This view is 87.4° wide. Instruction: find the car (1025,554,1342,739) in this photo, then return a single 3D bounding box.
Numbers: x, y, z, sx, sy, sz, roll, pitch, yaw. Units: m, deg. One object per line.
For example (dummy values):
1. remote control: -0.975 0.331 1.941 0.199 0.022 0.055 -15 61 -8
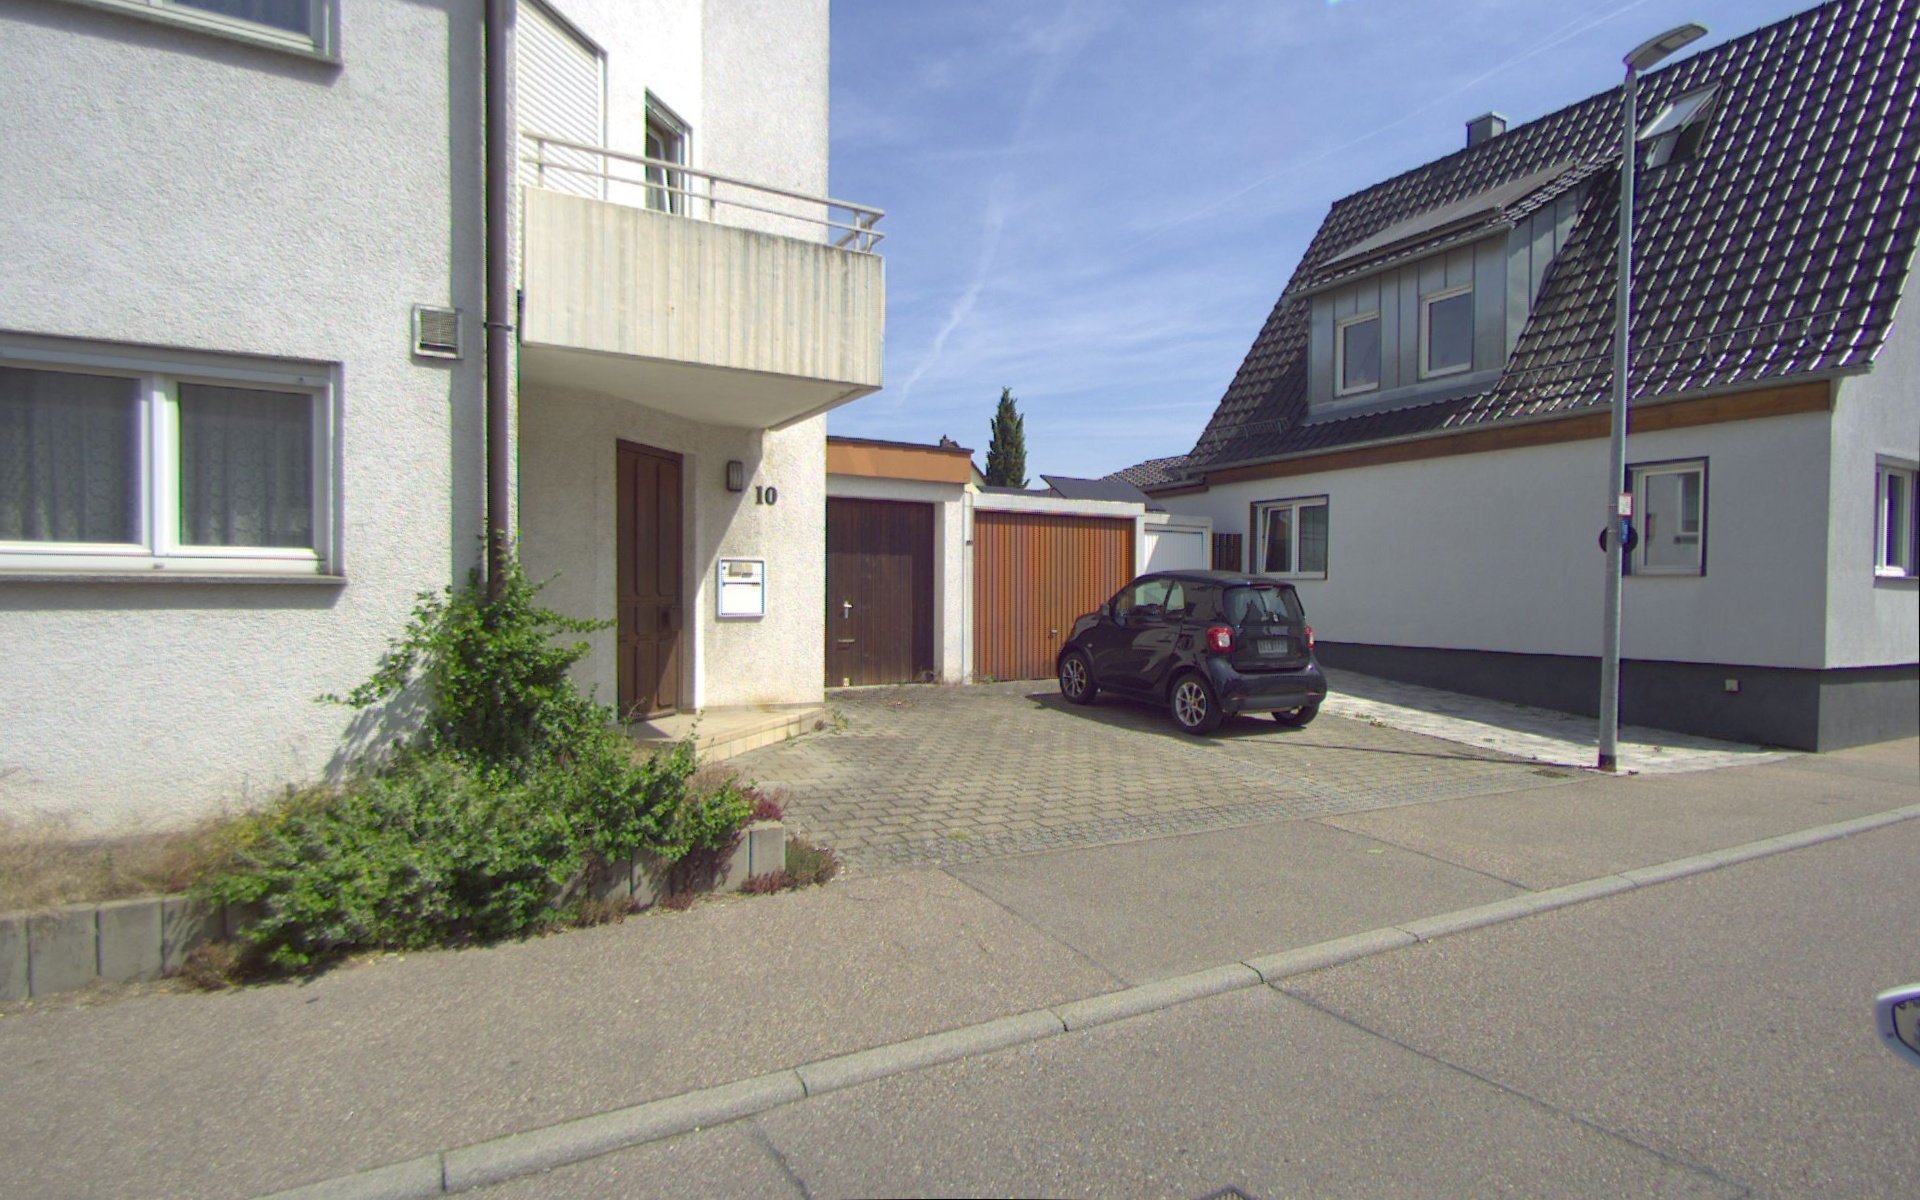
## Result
1. car: 2.321 0.389 11.086 1.695 1.598 3.093 1 4 -31
